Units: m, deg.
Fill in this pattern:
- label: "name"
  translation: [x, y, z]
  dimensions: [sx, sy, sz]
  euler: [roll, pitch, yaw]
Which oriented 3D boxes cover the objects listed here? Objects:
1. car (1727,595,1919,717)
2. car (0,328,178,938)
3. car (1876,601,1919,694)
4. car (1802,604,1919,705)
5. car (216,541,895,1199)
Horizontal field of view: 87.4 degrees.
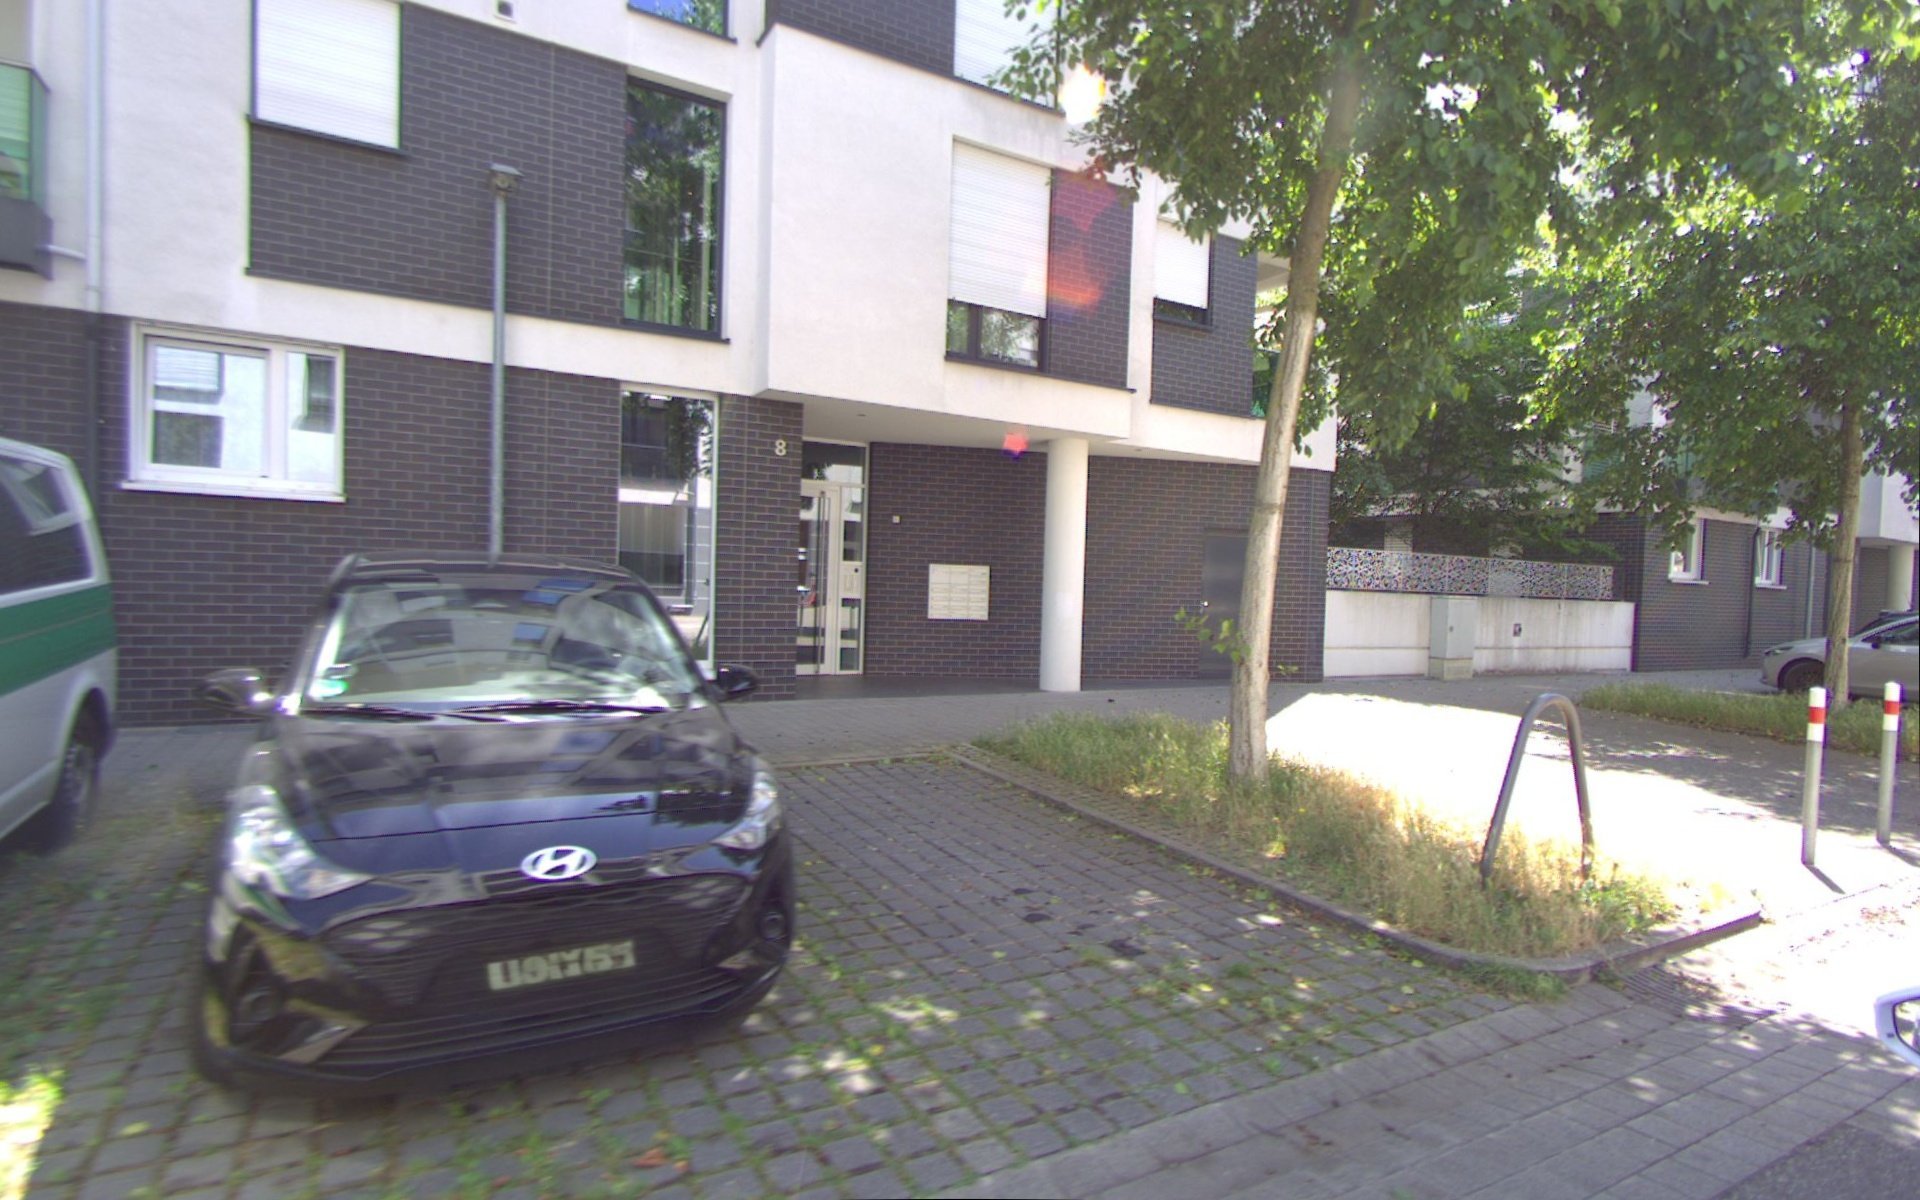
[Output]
- label: "car"
  translation: [14.034, 0.853, 14.517]
  dimensions: [1.902, 1.538, 4.231]
  euler: [1, 3, -30]
- label: "car"
  translation: [-4.304, 0.106, 2.991]
  dimensions: [2.160, 2.139, 5.320]
  euler: [1, 1, -28]
- label: "car"
  translation: [18.377, 0.941, 16.885]
  dimensions: [1.861, 1.613, 3.969]
  euler: [1, 3, -29]
- label: "car"
  translation: [16.172, 0.947, 15.643]
  dimensions: [1.771, 1.496, 4.295]
  euler: [1, 3, -30]
- label: "car"
  translation: [-1.840, 0.555, 4.223]
  dimensions: [1.658, 1.501, 3.605]
  euler: [1, 3, -30]
